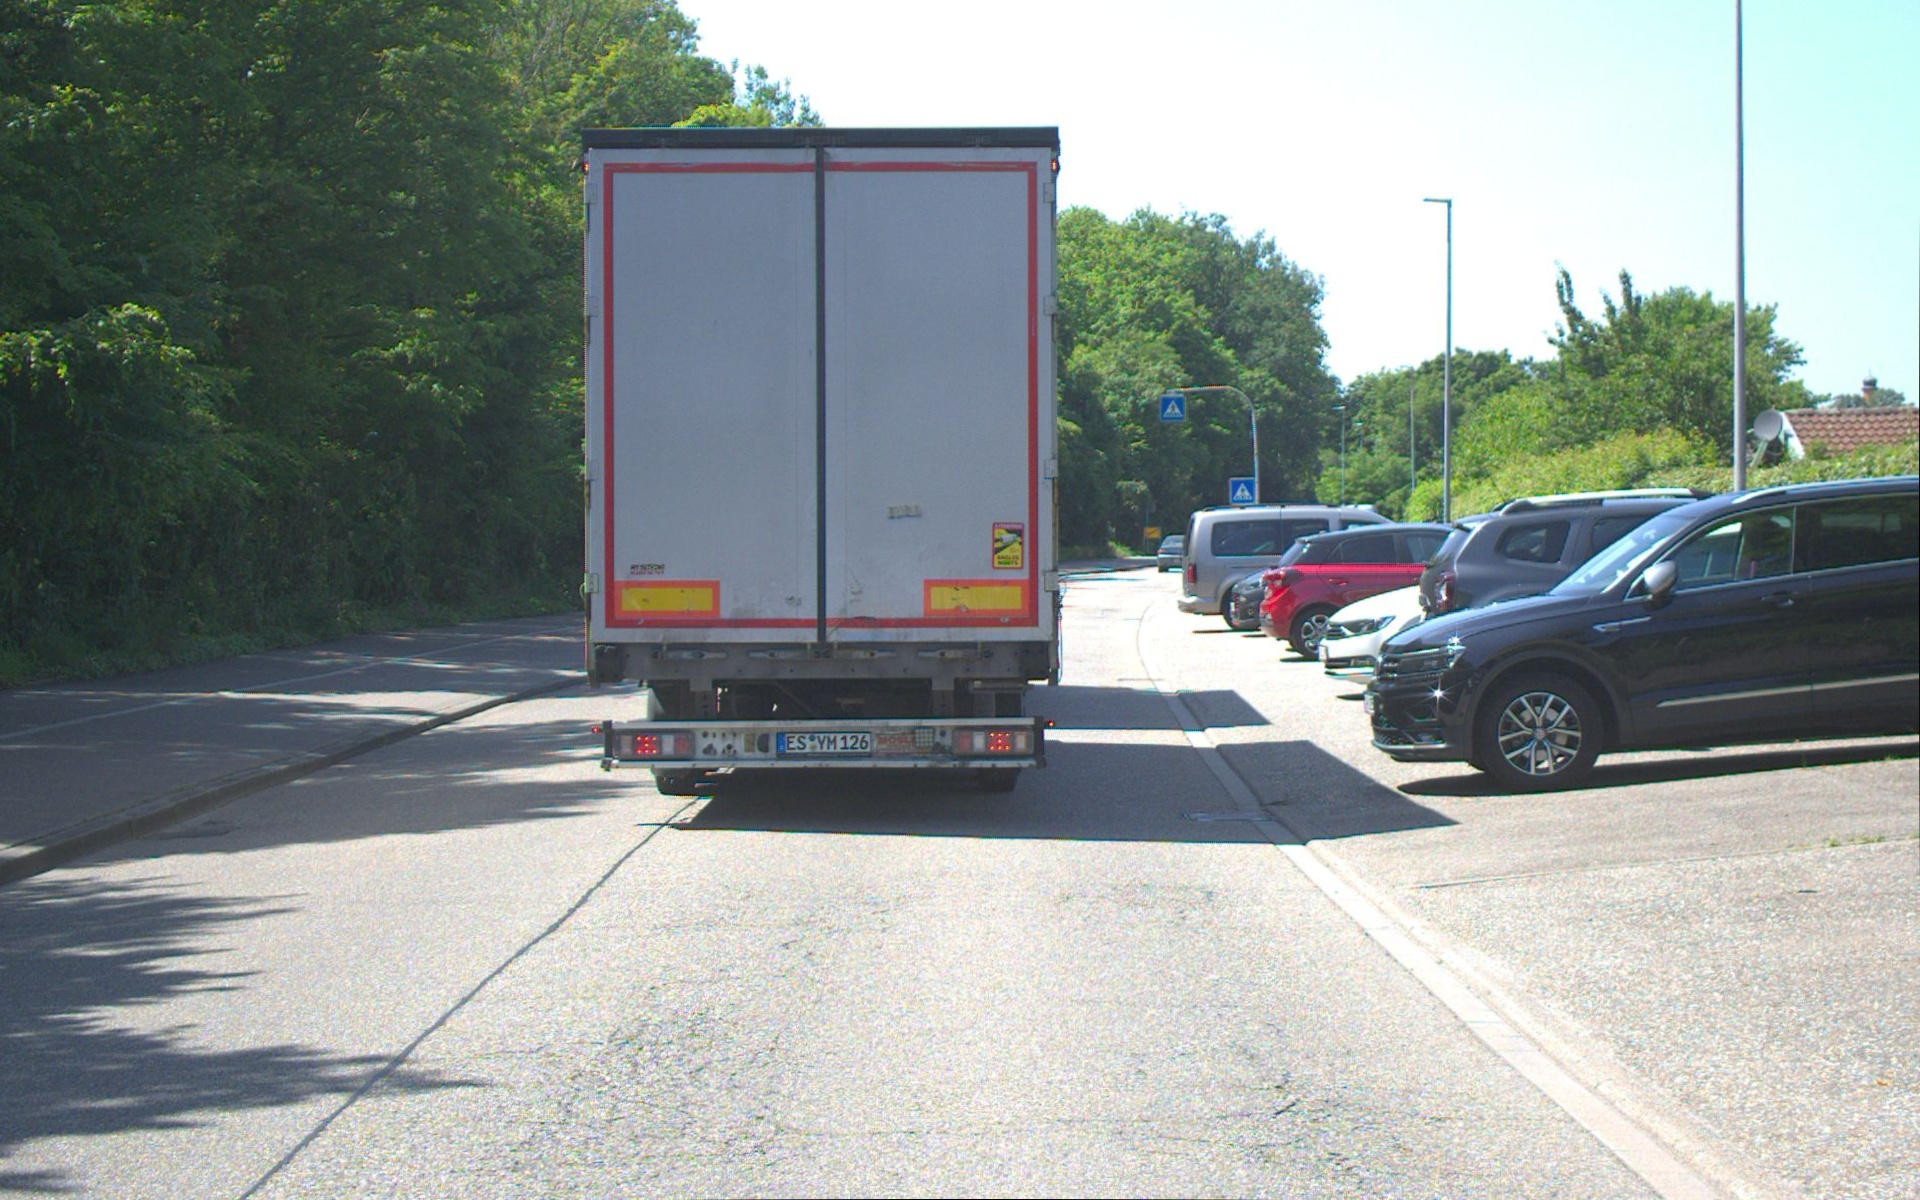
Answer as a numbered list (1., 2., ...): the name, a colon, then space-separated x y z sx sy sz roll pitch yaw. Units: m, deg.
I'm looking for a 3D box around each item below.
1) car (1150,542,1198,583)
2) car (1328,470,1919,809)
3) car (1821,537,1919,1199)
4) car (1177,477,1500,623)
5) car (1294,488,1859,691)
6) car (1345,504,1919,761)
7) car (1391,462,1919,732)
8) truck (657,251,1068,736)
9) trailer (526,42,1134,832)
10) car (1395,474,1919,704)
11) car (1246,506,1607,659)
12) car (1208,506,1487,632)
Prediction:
1. car: 8.125 -1.420 130.210 1.781 1.481 4.000 0 1 4
2. car: 4.584 0.162 20.472 4.470 1.698 1.914 -4 1 0
3. car: 2.889 0.609 5.411 1.789 1.477 4.665 -4 1 0
4. car: 5.638 -0.765 51.723 4.621 1.842 1.996 -4 1 4
5. car: 5.399 -0.117 30.528 4.557 1.434 1.962 -4 1 -1
6. car: 4.652 0.197 23.230 3.998 1.447 1.831 -3 1 7
7. car: 5.469 -0.059 25.637 4.258 1.692 1.853 -4 1 3
8. truck: -0.775 -0.916 30.261 3.114 3.712 6.414 -2 1 0
9. trailer: -0.723 -0.977 23.904 3.112 4.088 11.537 -1 1 0
10. car: 5.738 -0.109 28.060 4.049 1.543 1.758 -4 1 0
11. car: 5.367 -0.218 39.963 3.919 1.473 1.845 -4 1 3
12. car: 5.439 -0.447 48.545 3.575 1.497 1.842 -4 1 -2
